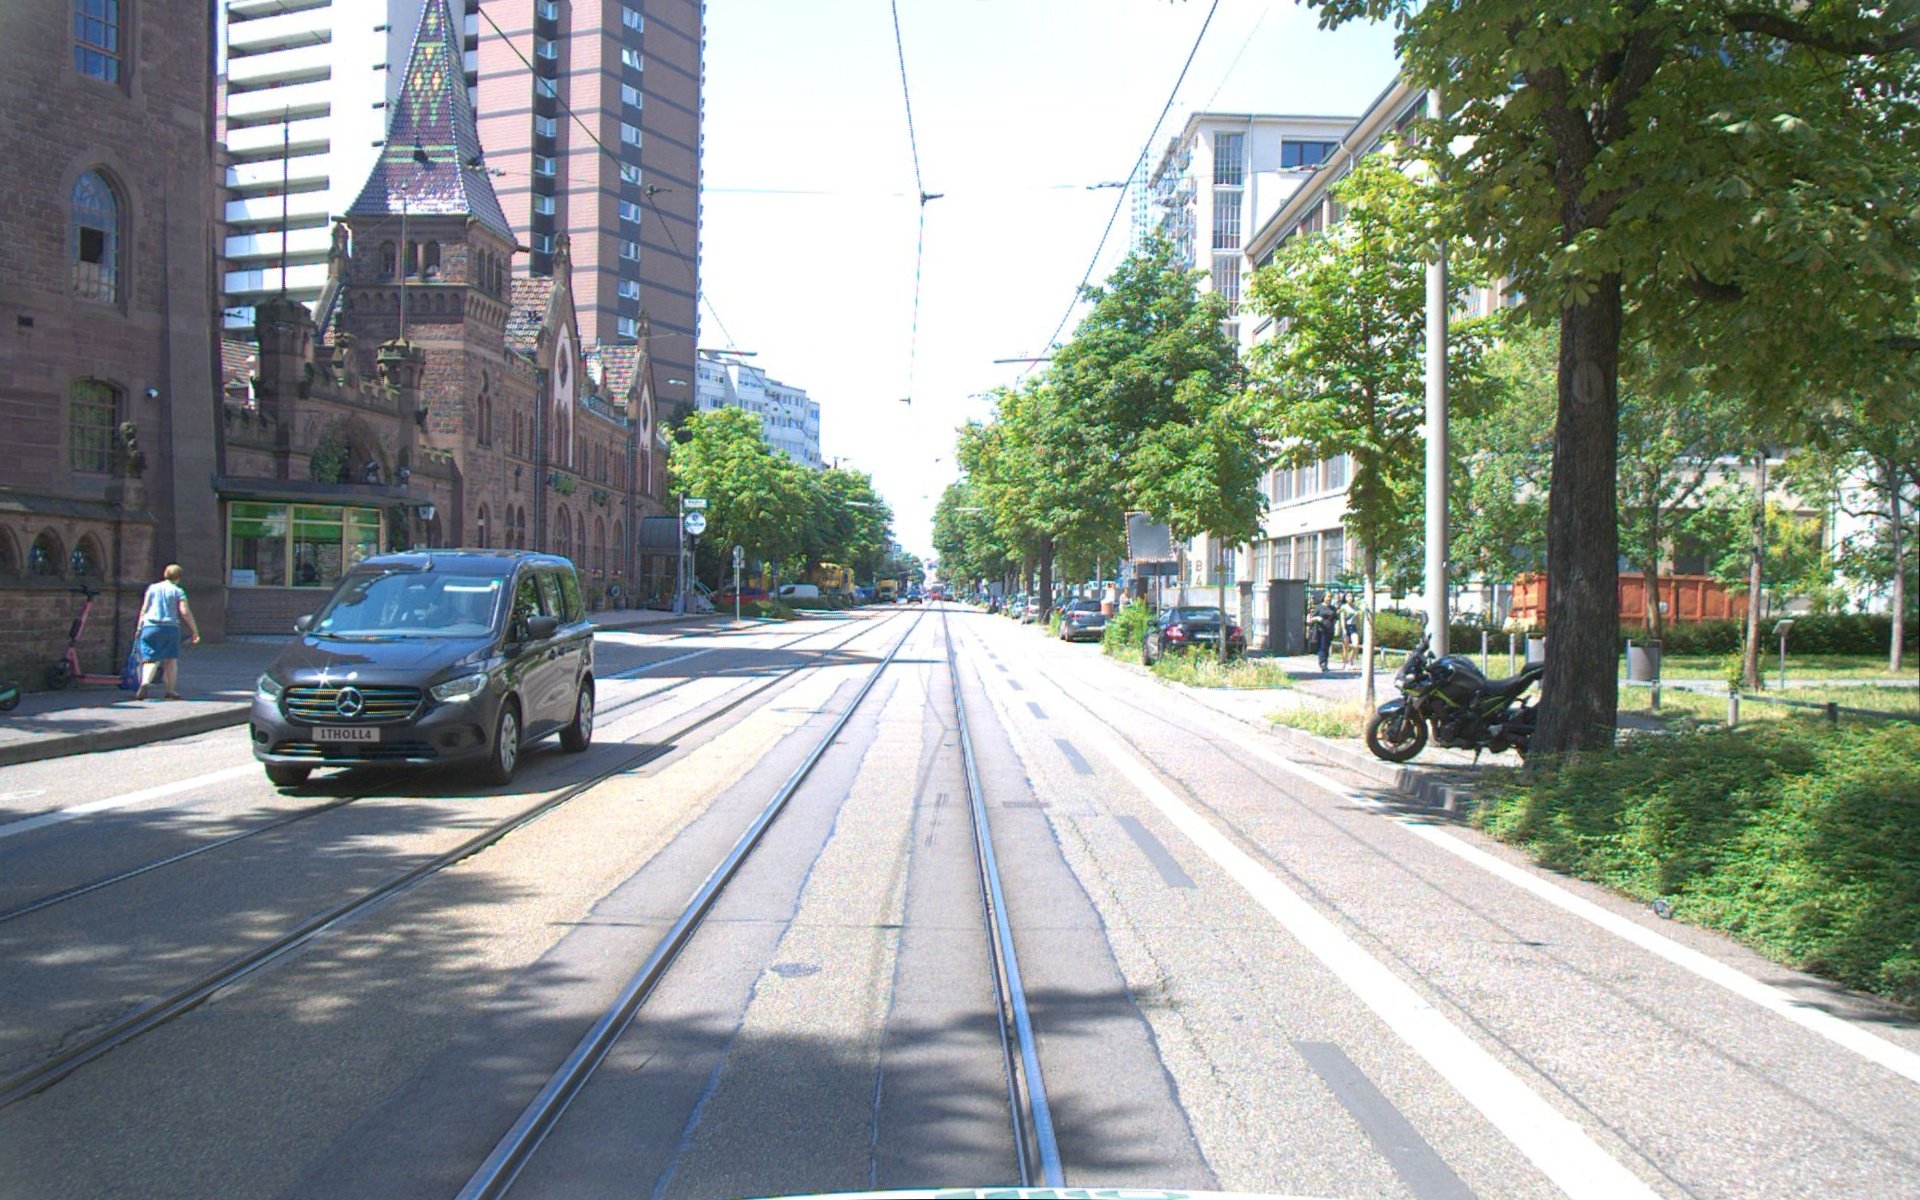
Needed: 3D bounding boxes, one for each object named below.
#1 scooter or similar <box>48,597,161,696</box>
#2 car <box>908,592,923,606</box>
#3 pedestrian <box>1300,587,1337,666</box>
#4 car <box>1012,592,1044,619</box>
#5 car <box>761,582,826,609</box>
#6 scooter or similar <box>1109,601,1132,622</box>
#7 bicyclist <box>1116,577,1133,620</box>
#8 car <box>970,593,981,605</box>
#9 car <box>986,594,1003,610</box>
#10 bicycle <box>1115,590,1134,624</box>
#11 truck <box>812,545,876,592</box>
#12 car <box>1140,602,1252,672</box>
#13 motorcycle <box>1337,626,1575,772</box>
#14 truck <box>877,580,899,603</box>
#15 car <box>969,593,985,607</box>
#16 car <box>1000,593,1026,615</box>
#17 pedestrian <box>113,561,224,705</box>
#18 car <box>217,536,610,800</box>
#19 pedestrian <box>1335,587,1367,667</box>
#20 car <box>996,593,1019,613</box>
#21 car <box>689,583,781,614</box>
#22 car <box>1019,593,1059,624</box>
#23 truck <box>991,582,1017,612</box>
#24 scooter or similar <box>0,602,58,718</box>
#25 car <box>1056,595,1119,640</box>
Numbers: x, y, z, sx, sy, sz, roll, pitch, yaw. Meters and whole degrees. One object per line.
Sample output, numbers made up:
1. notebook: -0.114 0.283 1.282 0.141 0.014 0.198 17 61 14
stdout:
1. scooter or similar: -10.300 0.554 19.939 0.322 1.146 1.221 2 0 27
2. car: -5.587 -0.133 206.577 1.793 1.710 4.184 0 0 -1
3. pedestrian: 7.309 0.537 33.715 0.606 1.601 0.610 -1 0 -1
4. car: 4.074 0.309 99.840 1.637 1.544 4.200 1 0 -2
5. car: -12.522 -0.322 124.744 4.492 1.822 1.879 2 0 -33
6. scooter or similar: 6.560 0.478 67.609 0.746 0.821 1.555 -1 0 -1
7. bicyclist: 6.558 -0.068 65.981 0.568 1.677 0.599 -1 0 -1
8. car: 2.221 -0.111 235.555 1.560 1.645 3.907 0 -1 -1
9. car: 3.340 0.204 160.680 1.610 1.561 3.785 1 0 1
10. bicycle: 6.547 0.271 65.935 0.543 1.287 1.773 -2 0 0
11. truck: -10.700 -2.855 153.827 2.657 3.909 10.972 2 0 13
12. car: 4.850 0.725 34.471 1.716 1.292 3.833 2 0 0
13. motorcycle: 4.556 0.878 15.273 2.023 1.234 0.610 0 -1 39
14. truck: -9.135 -1.051 210.229 2.312 2.902 7.379 0 0 1
15. car: 2.026 0.005 194.554 1.606 1.511 3.870 0 -1 -4
16. car: 3.812 0.267 119.636 1.787 1.497 4.486 1 0 1
17. pedestrian: -9.337 0.376 19.541 0.783 1.616 0.919 4 0 -1
18. car: -4.252 0.462 13.637 1.866 1.819 4.255 0 0 -1
19. pedestrian: 7.946 0.541 33.647 0.502 1.601 0.544 -1 0 -1
20. car: 3.773 0.227 130.676 1.786 1.497 4.401 1 0 2
21. car: -12.501 -0.073 91.930 4.712 1.594 1.982 1 0 -29
22. car: 4.112 0.430 86.890 1.638 1.525 4.362 1 0 -4
23. truck: 3.740 -0.266 141.103 1.973 2.532 5.954 1 0 -1
24. scooter or similar: -9.738 0.594 16.493 0.343 1.146 1.217 2 -1 42
25. car: 4.315 0.568 56.570 1.637 1.432 4.747 1 0 -1
